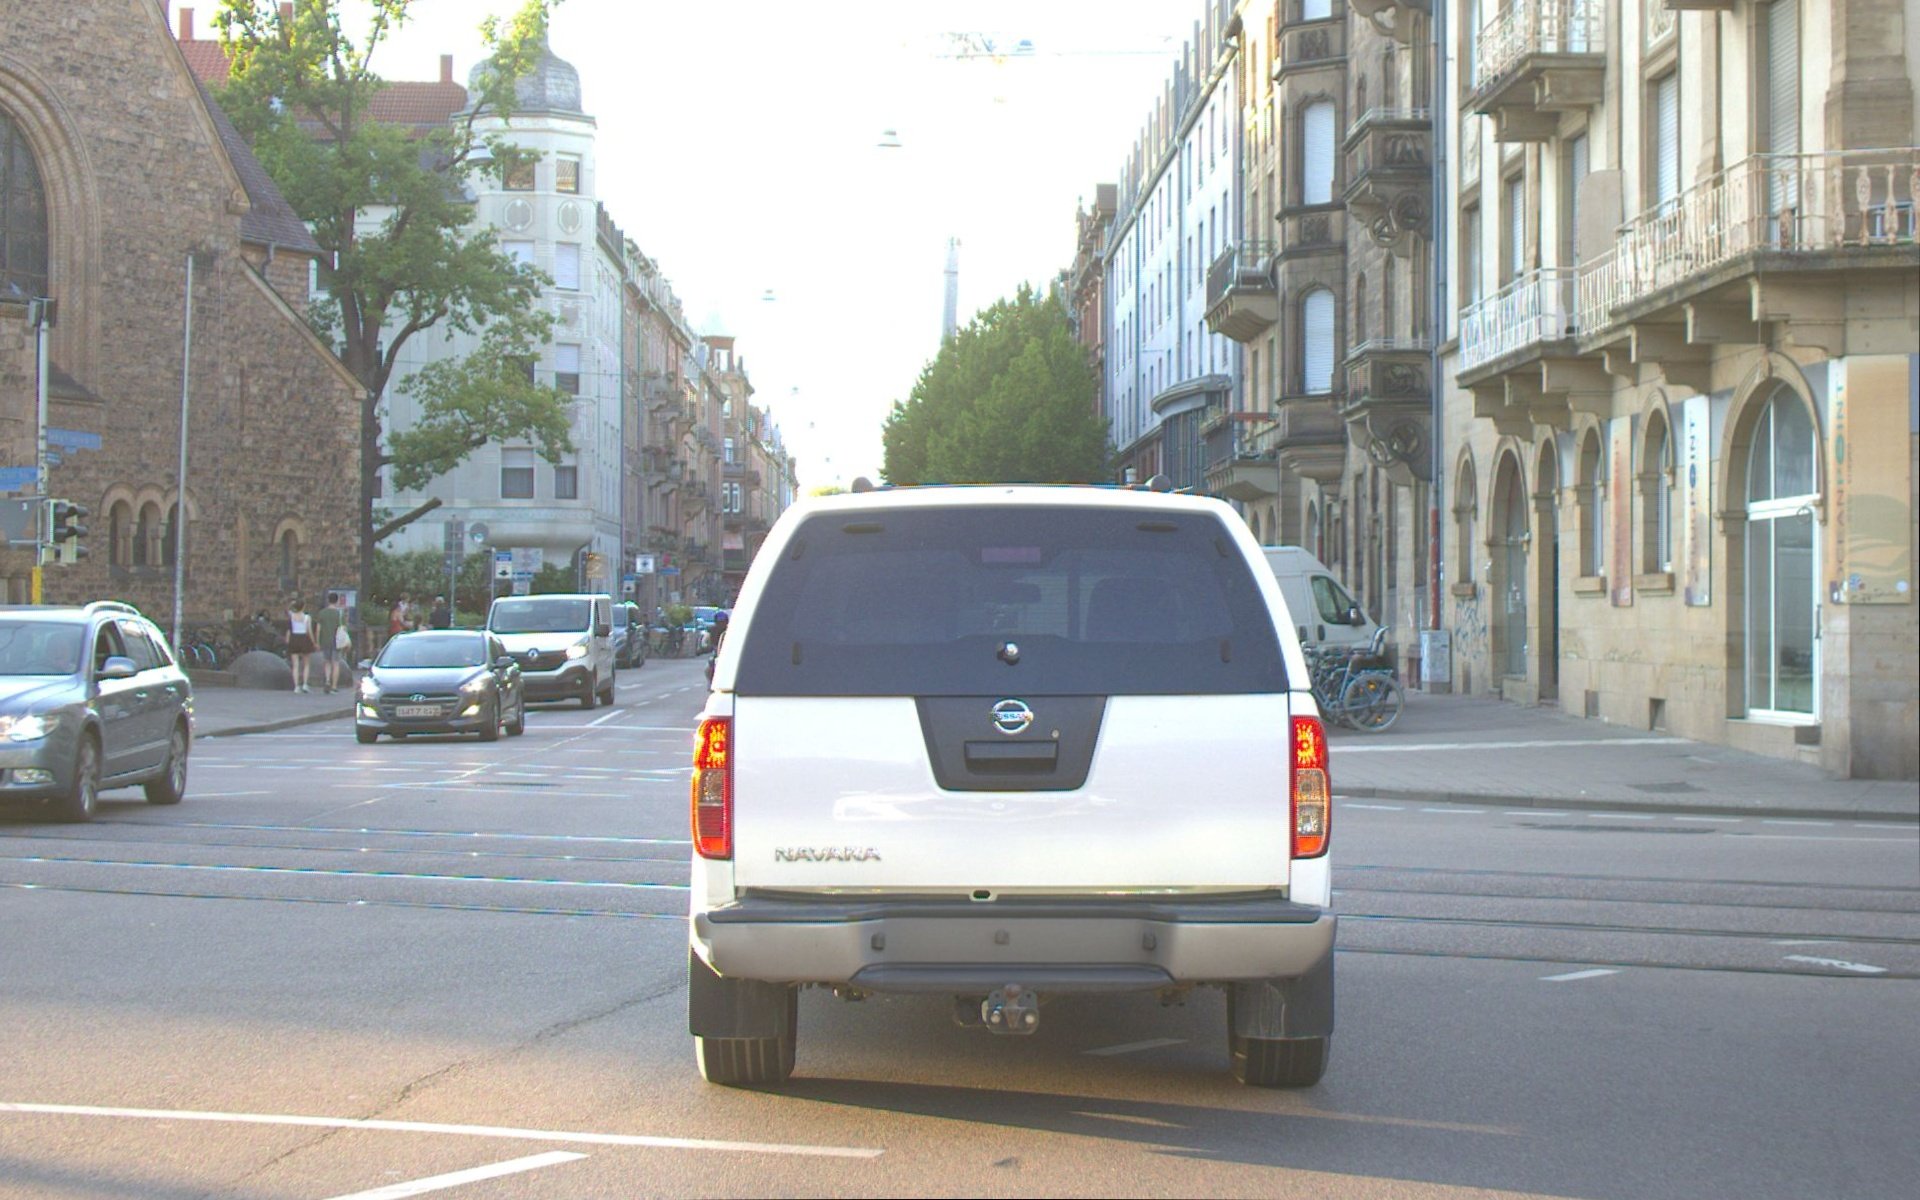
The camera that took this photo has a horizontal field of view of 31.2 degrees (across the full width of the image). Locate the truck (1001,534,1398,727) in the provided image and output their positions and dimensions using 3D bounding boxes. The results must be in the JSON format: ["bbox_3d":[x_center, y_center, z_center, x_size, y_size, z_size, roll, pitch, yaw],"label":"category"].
[{"bbox_3d":[3.434,0.430,48.352,5.657,2.556,2.286,1,0,-43],"label":"truck"}]

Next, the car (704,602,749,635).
[{"bbox_3d":[-11.150,0.873,164.295,1.858,1.524,4.000,1,-1,0],"label":"car"}]

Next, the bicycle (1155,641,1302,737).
[{"bbox_3d":[3.296,1.093,42.253,1.726,1.080,0.317,-3,-1,-2],"label":"bicycle"}]

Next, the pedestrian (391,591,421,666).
[{"bbox_3d":[-13.807,0.714,85.678,0.642,1.849,0.562,1,-1,-14],"label":"pedestrian"}]

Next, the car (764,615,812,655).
[{"bbox_3d":[-6.845,1.398,136.964,1.858,1.524,4.000,1,-1,-3],"label":"car"}]

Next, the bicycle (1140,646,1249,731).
[{"bbox_3d":[3.024,1.139,44.399,1.333,1.021,0.317,-3,-1,-2],"label":"bicycle"}]

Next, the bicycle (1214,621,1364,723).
[{"bbox_3d":[4.326,0.944,45.287,1.855,1.234,0.531,-3,-1,-2],"label":"bicycle"}]

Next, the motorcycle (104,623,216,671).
[{"bbox_3d":[-17.117,1.002,73.622,2.243,0.984,0.708,1,-1,-5],"label":"motorcycle"}]

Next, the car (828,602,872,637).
[{"bbox_3d":[-4.996,0.906,156.262,1.858,1.524,4.000,1,-1,0],"label":"car"}]

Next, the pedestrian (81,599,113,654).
[{"bbox_3d":[-15.115,0.463,60.209,0.521,0.957,0.479,1,-1,-15],"label":"pedestrian"}]

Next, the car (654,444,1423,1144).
[{"bbox_3d":[0.217,0.531,11.077,1.993,1.803,4.000,1,-1,0],"label":"car"}]

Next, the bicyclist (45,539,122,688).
[{"bbox_3d":[-9.818,0.150,38.546,0.599,1.639,0.963,1,-1,-1],"label":"bicyclist"}]

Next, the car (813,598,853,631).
[{"bbox_3d":[-6.163,0.712,166.591,1.920,1.524,4.000,1,-1,-3],"label":"car"}]

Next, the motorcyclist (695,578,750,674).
[{"bbox_3d":[-4.126,0.450,59.714,0.874,1.639,0.963,1,-1,-1],"label":"motorcyclist"}]

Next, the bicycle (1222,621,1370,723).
[{"bbox_3d":[4.367,0.937,44.756,1.817,1.234,0.410,-3,-1,-2],"label":"bicycle"}]

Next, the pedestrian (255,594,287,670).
[{"bbox_3d":[-15.514,0.724,77.399,0.642,1.690,0.562,1,-1,-8],"label":"pedestrian"}]

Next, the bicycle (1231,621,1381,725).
[{"bbox_3d":[4.436,0.932,44.149,1.817,1.234,0.412,-3,-1,-2],"label":"bicycle"}]

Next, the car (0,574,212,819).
[{"bbox_3d":[-6.814,0.628,24.293,1.993,1.552,4.769,-1,0,0],"label":"car"}]

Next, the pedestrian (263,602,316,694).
[{"bbox_3d":[-12.382,0.880,63.492,0.812,1.664,0.859,1,-1,-2],"label":"pedestrian"}]

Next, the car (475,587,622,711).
[{"bbox_3d":[-6.979,0.827,58.786,1.993,2.007,4.950,0,-1,-1],"label":"car"}]

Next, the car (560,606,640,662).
[{"bbox_3d":[-10.262,0.976,98.150,1.858,1.524,4.000,1,-1,0],"label":"car"}]

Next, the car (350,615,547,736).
[{"bbox_3d":[-6.634,0.949,44.971,1.993,1.472,4.139,-1,0,-1],"label":"car"}]

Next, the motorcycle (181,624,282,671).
[{"bbox_3d":[-16.082,1.042,75.894,2.167,0.984,0.593,1,-1,20],"label":"motorcycle"}]

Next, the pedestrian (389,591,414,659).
[{"bbox_3d":[-14.053,0.634,86.522,0.560,1.690,0.645,1,-1,-7],"label":"pedestrian"}]

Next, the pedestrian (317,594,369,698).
[{"bbox_3d":[-11.399,0.846,63.504,0.812,1.894,0.666,1,-1,-2],"label":"pedestrian"}]

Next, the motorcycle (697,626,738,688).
[{"bbox_3d":[-4.201,0.980,59.682,0.599,1.040,1.946,1,-1,-1],"label":"motorcycle"}]

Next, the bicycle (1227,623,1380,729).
[{"bbox_3d":[4.332,0.957,43.425,1.817,1.234,0.478,-3,-1,-2],"label":"bicycle"}]

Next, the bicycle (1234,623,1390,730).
[{"bbox_3d":[4.368,0.946,42.713,1.817,1.234,0.488,-3,-1,-2],"label":"bicycle"}]

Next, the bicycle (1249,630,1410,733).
[{"bbox_3d":[4.488,0.983,41.771,1.817,1.146,0.636,-3,-1,-2],"label":"bicycle"}]
